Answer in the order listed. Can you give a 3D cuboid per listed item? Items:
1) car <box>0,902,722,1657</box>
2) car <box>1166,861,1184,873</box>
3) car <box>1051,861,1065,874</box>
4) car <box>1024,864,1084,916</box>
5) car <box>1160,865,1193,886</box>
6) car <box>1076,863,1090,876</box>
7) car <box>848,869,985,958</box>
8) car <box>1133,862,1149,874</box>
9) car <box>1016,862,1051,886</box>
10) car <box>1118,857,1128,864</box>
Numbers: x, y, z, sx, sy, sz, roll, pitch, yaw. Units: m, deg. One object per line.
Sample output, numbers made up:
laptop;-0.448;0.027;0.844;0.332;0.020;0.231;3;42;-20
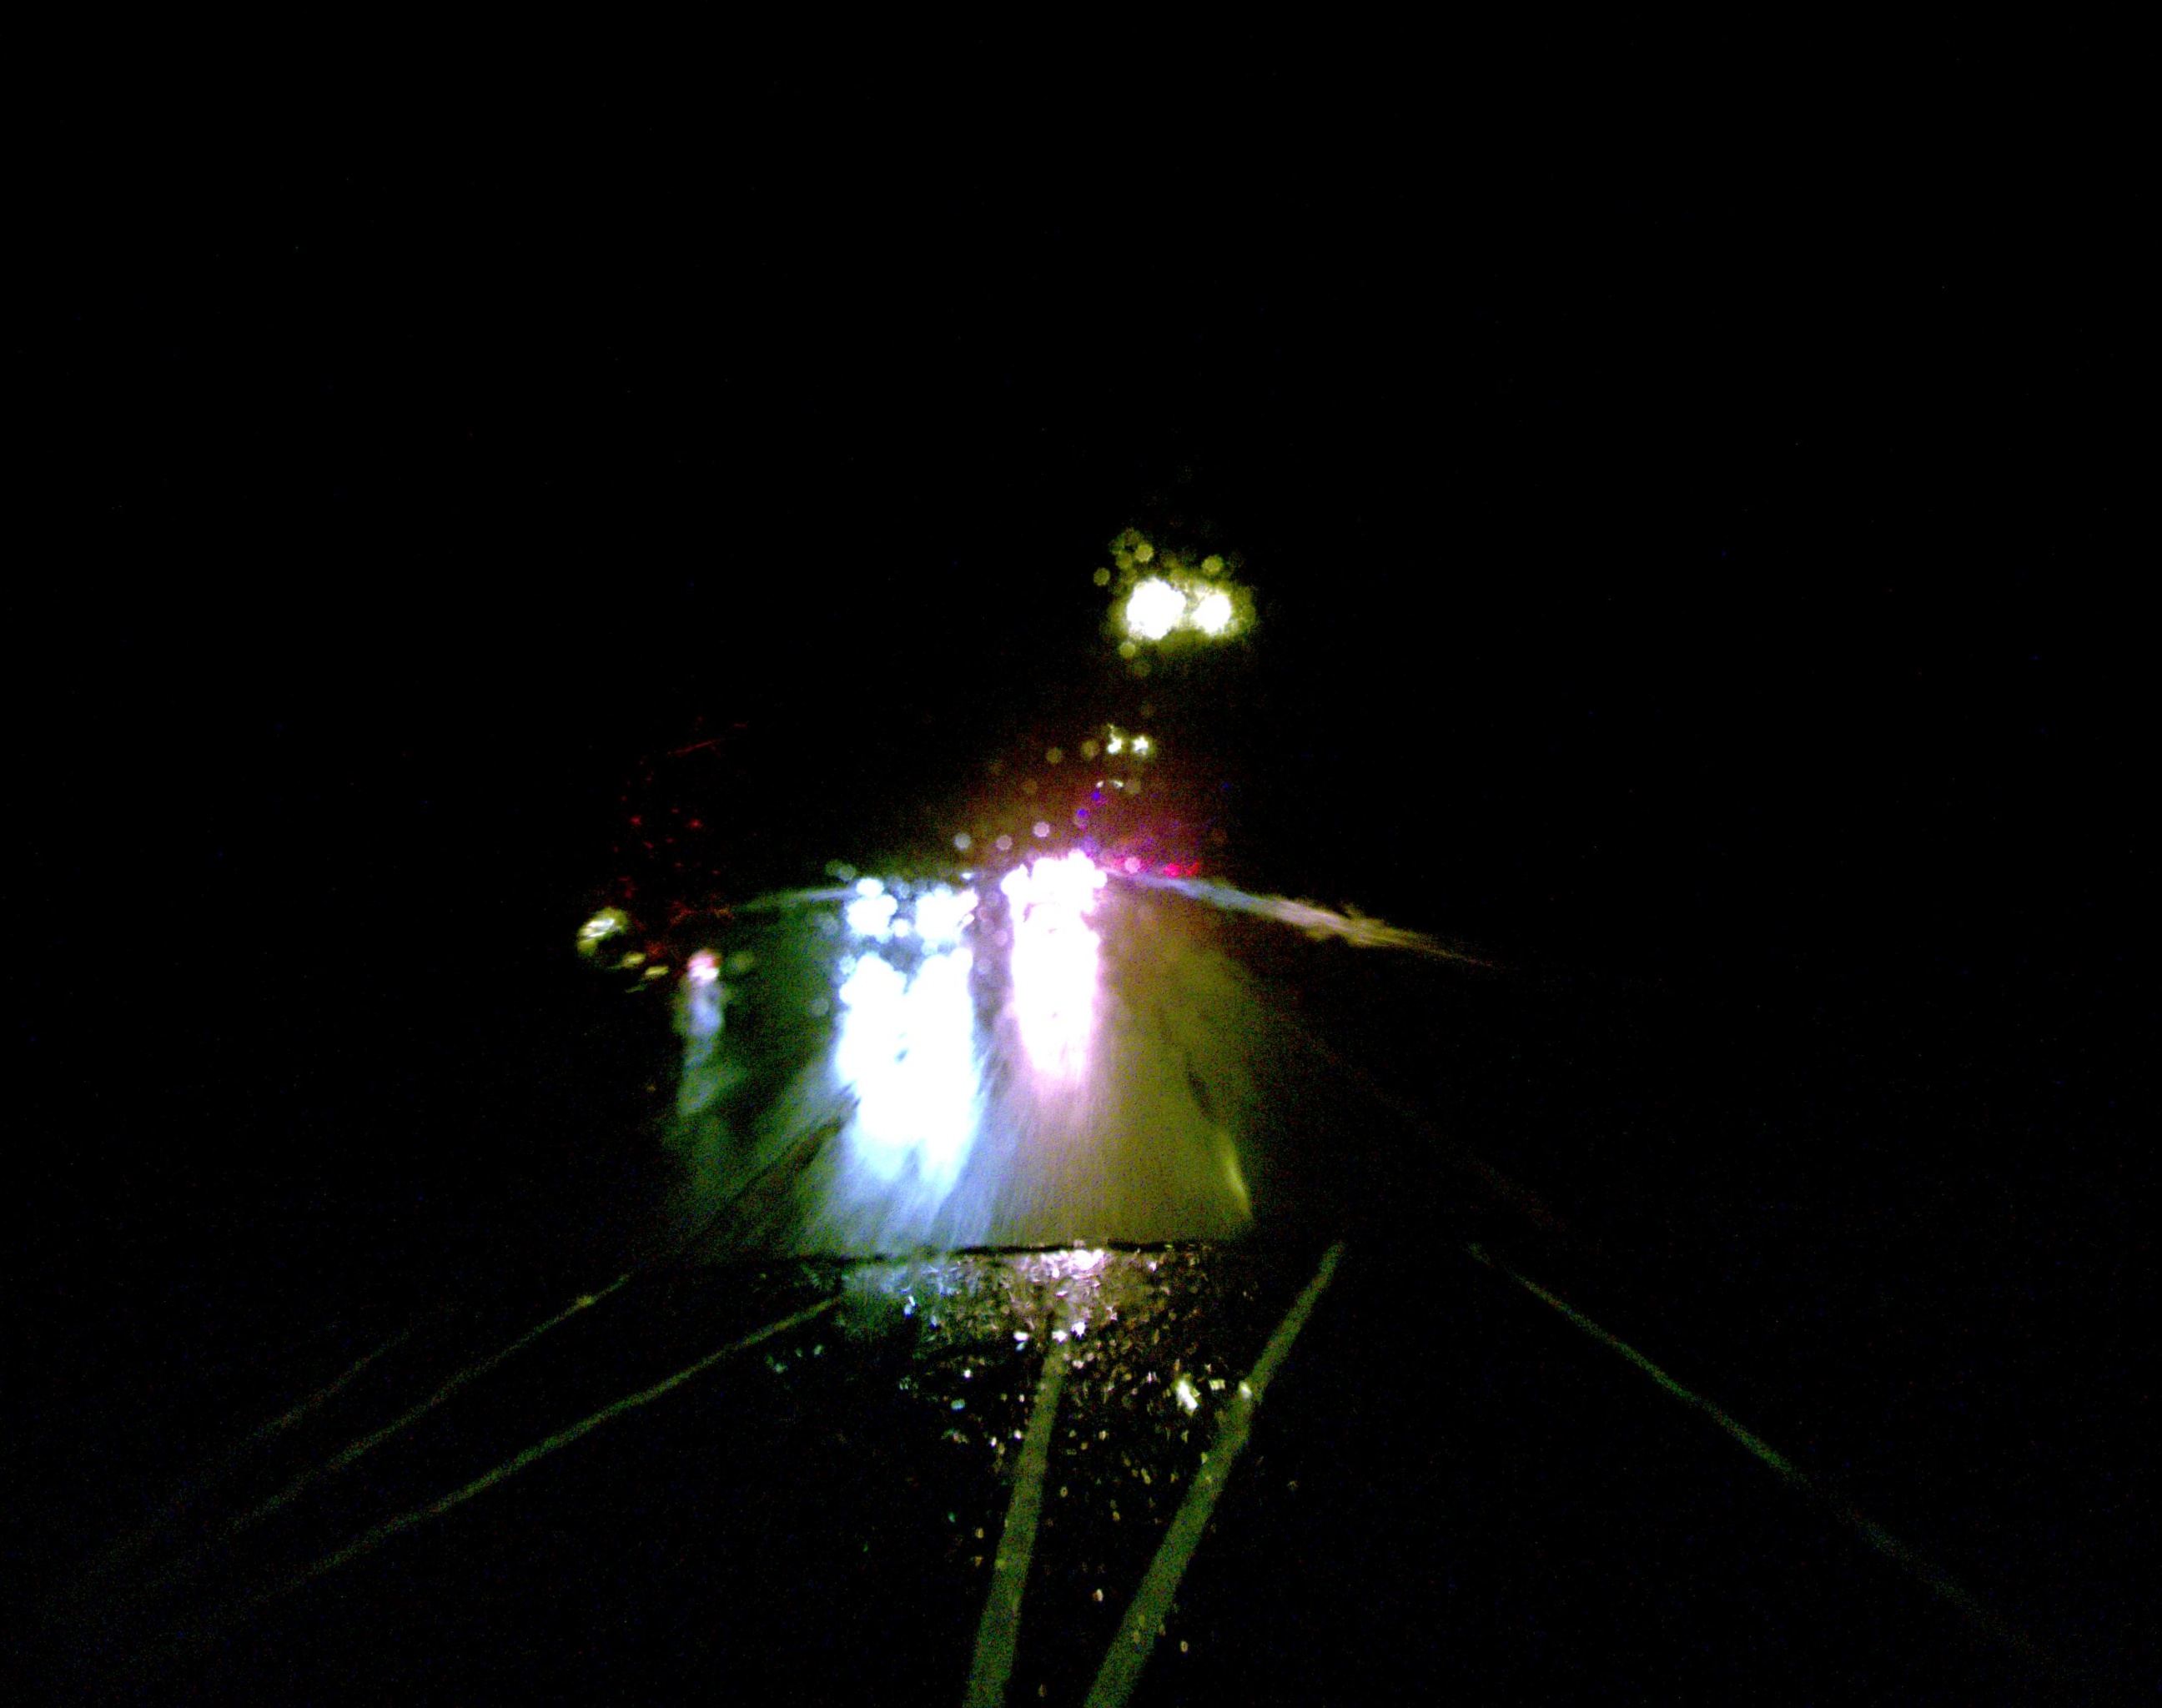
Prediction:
car;-3.278;1.063;2.796;1.736;1.440;4.724;-2;0;-2
car;10.842;1.474;87.979;1.614;1.373;4.164;1;0;0
car;-3.202;1.875;106.477;1.999;1.657;4.000;0;0;-1
car;-0.813;1.107;24.872;1.764;1.492;4.000;-2;0;0
car;7.257;1.609;58.272;1.860;1.467;4.778;-1;0;0
car;0.250;2.279;114.657;1.998;1.774;4.000;-2;0;1
car;-3.229;1.105;15.880;1.826;1.476;4.568;-1;0;0
car;7.695;1.795;98.099;1.614;1.373;4.746;-1;0;0
car;-3.099;1.294;50.103;1.998;1.455;4.000;-1;0;0
car;8.778;1.376;158.532;1.756;1.543;4.010;-1;0;0
